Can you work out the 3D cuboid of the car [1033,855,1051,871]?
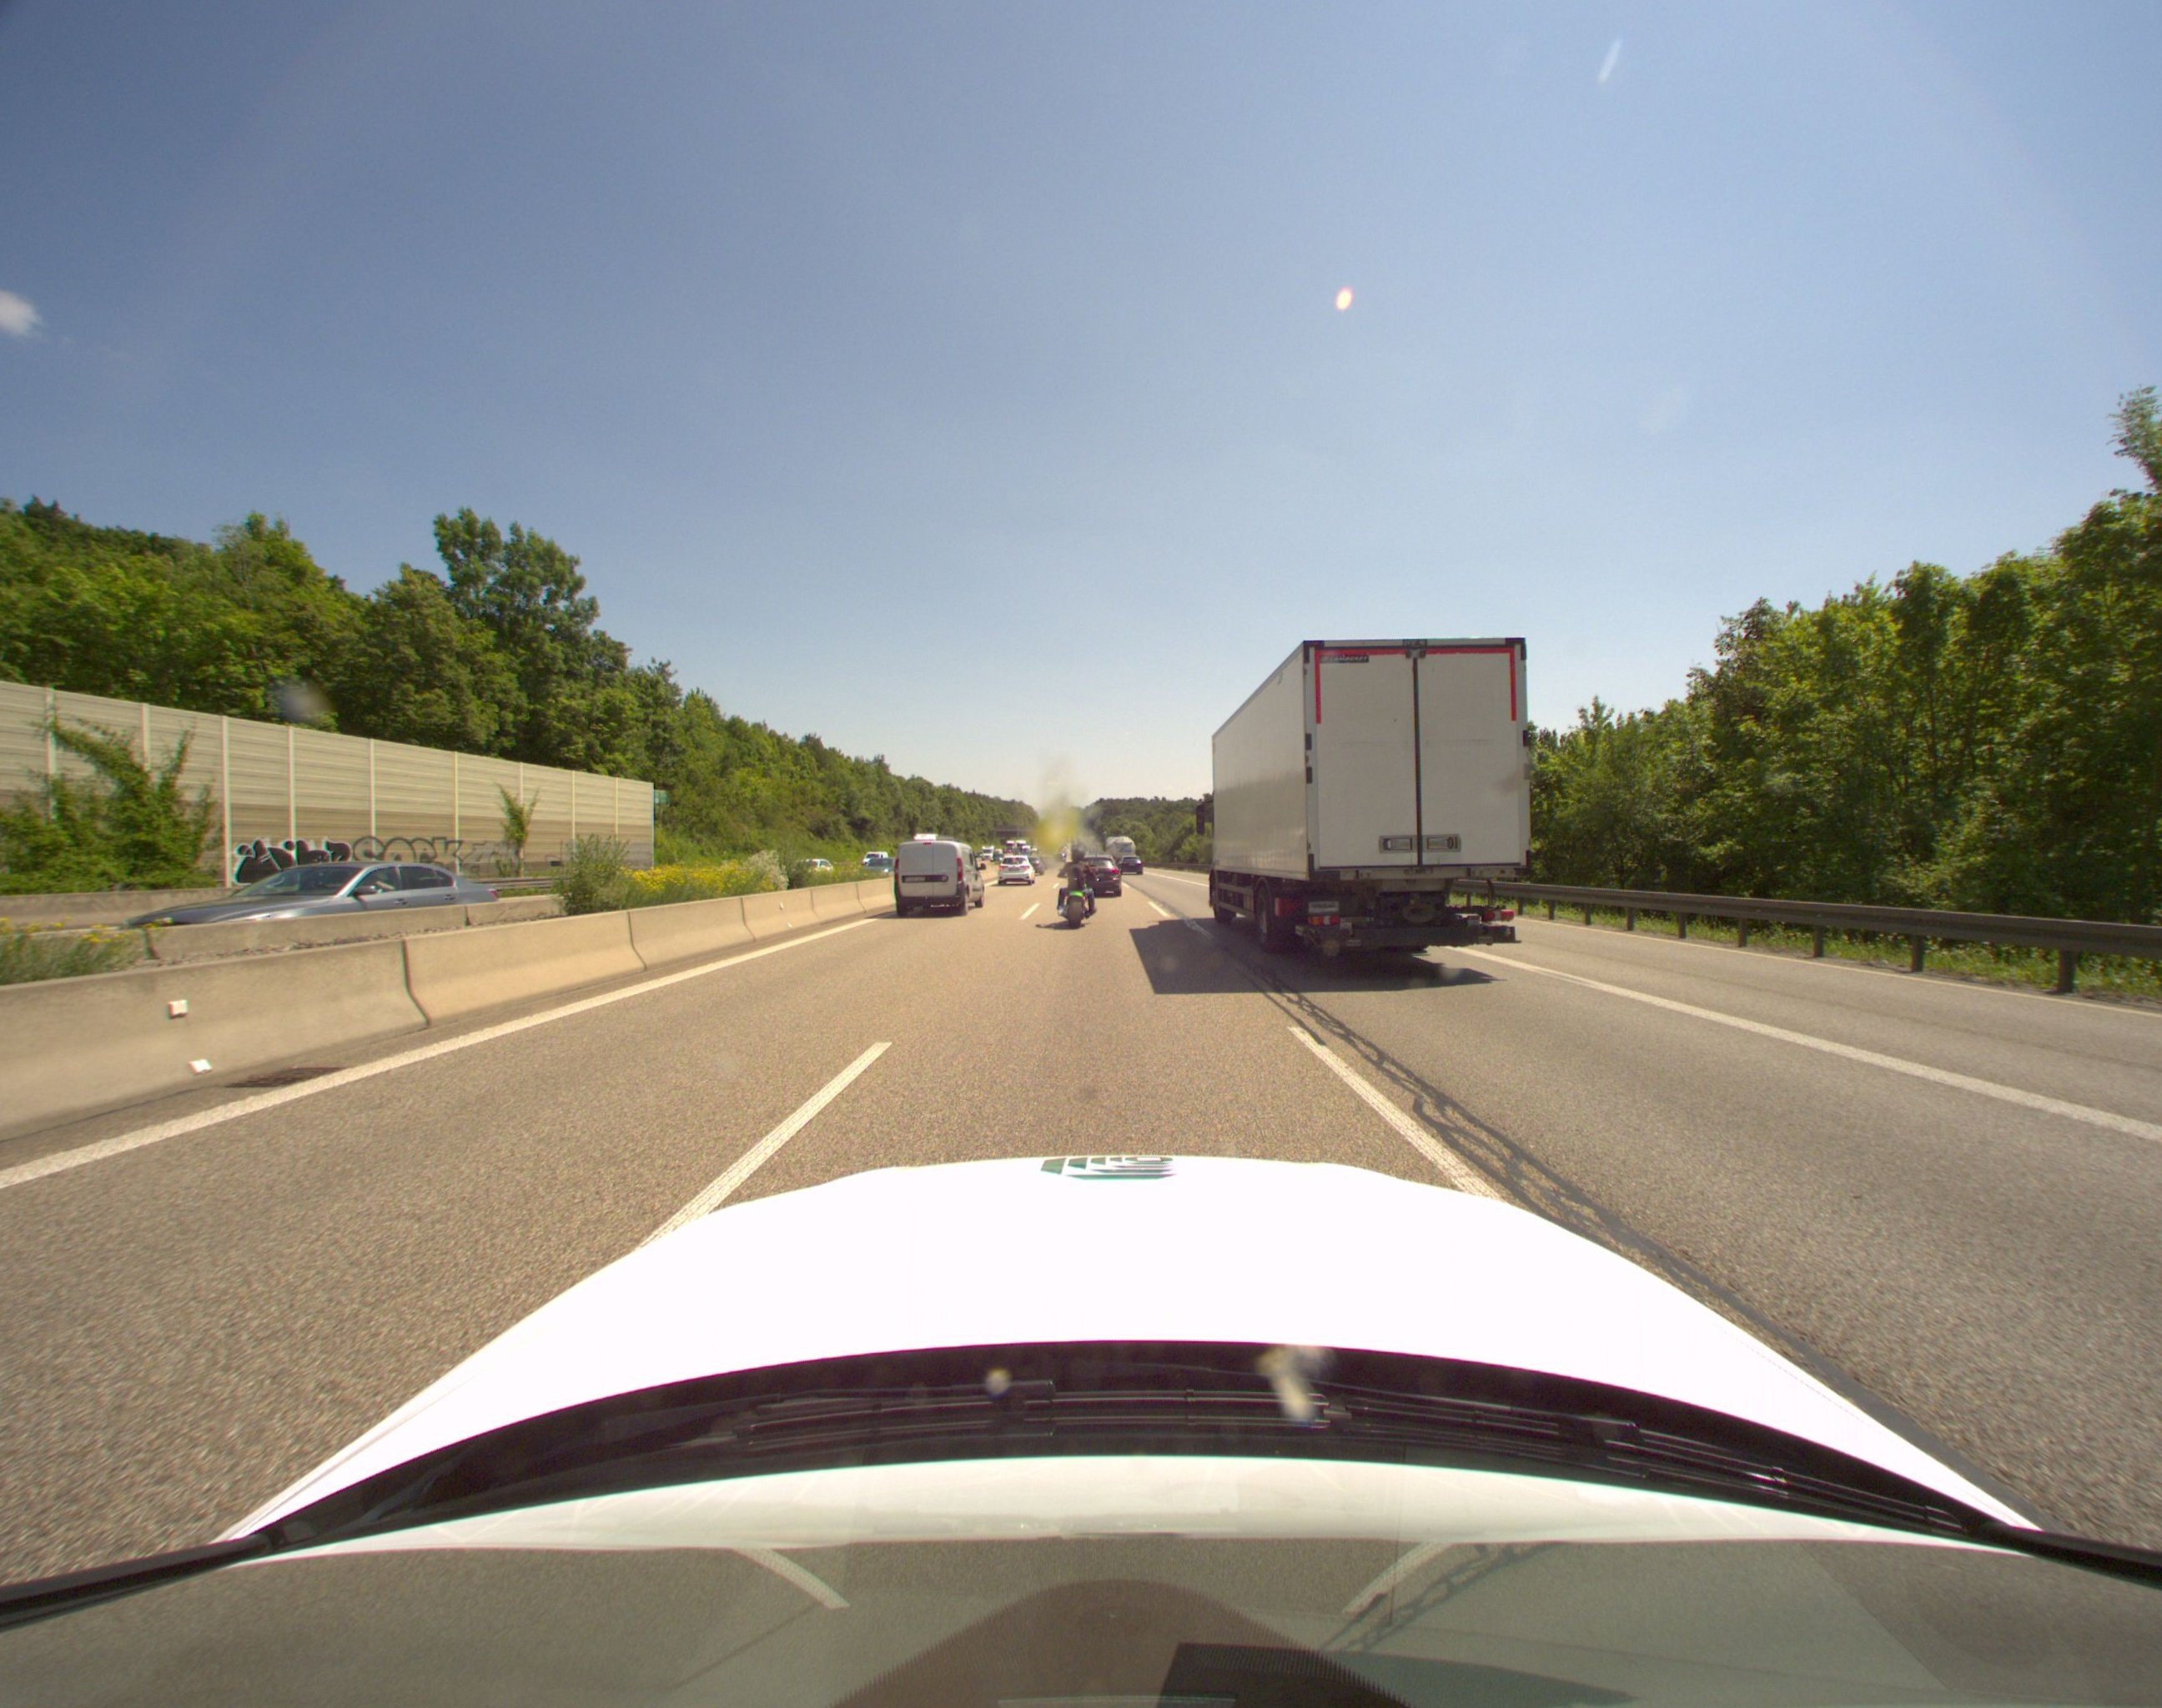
[{"bbox_3d":[-3.944,0.897,82.903,1.694,1.478,3.999,1,0,-1],"label":"car"}]

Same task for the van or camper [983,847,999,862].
[{"bbox_3d":[-17.043,0.048,155.045,2.263,2.735,6.803,-1,-1,-1],"label":"van or camper"}]

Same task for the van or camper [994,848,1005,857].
[{"bbox_3d":[-18.889,-0.424,189.540,2.069,1.977,3.704,-1,0,0],"label":"van or camper"}]

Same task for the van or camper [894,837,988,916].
[{"bbox_3d":[-3.643,0.570,21.859,1.790,1.892,4.159,-1,-1,0],"label":"van or camper"}]

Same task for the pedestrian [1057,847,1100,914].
[{"bbox_3d":[-0.043,0.537,16.981,0.846,1.362,0.961,-1,0,0],"label":"pedestrian"}]

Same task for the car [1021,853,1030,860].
[{"bbox_3d":[-11.796,0.528,173.403,1.705,1.538,4.127,-1,0,-1],"label":"car"}]

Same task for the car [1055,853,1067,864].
[{"bbox_3d":[-3.406,0.780,141.119,1.874,1.859,3.999,2,0,0],"label":"car"}]

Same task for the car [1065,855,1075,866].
[{"bbox_3d":[-1.631,0.936,119.585,1.387,1.463,2.780,-1,0,2],"label":"car"}]

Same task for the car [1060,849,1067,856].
[{"bbox_3d":[-4.972,-0.497,234.380,1.923,2.014,3.999,-1,-1,0],"label":"car"}]

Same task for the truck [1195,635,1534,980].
[{"bbox_3d":[3.925,-0.531,14.221,2.678,3.876,9.783,-1,0,2],"label":"truck"}]

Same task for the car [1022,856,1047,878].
[{"bbox_3d":[-3.506,0.963,61.783,1.694,1.478,3.999,1,0,-1],"label":"car"}]

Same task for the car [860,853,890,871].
[{"bbox_3d":[-22.142,0.844,87.612,1.915,1.867,5.301,-1,-1,-1],"label":"car"}]

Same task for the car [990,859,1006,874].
[{"bbox_3d":[-11.148,1.655,109.757,1.759,2.013,3.997,-1,0,-2],"label":"car"}]

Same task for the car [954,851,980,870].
[{"bbox_3d":[-10.667,0.590,76.303,1.678,1.698,4.659,-1,0,1],"label":"car"}]

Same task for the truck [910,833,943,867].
[{"bbox_3d":[-18.685,-0.401,98.903,2.805,3.908,7.311,-1,-1,-1],"label":"truck"}]

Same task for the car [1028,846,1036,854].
[{"bbox_3d":[-12.987,-1.122,216.643,1.887,1.948,3.996,-1,-1,-2],"label":"car"}]

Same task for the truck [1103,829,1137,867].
[{"bbox_3d":[3.932,-0.590,84.211,2.979,3.671,9.284,-1,-1,-1],"label":"truck"}]

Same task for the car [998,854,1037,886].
[{"bbox_3d":[-3.228,0.781,41.758,1.694,1.478,3.999,1,0,-1],"label":"car"}]

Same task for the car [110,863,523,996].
[{"bbox_3d":[-11.068,0.957,12.421,1.740,1.577,4.716,-1,0,2],"label":"car"}]

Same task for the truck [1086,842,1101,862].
[{"bbox_3d":[2.945,-0.481,189.236,3.024,4.542,9.979,2,0,-1],"label":"truck"}]

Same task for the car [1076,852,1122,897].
[{"bbox_3d":[0.660,0.708,29.774,1.527,1.510,4.001,-1,0,1],"label":"car"}]

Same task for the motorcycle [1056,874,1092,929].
[{"bbox_3d":[-0.122,0.954,17.016,0.689,1.015,2.121,-1,0,1],"label":"motorcycle"}]

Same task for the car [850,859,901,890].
[{"bbox_3d":[-10.496,1.004,41.813,1.611,1.467,3.753,-1,0,1],"label":"car"}]

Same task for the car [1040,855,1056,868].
[{"bbox_3d":[-3.757,0.855,93.723,1.694,1.478,3.999,1,0,-1],"label":"car"}]

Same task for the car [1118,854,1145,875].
[{"bbox_3d":[3.936,0.800,64.164,1.823,1.470,3.999,2,0,-1],"label":"car"}]
